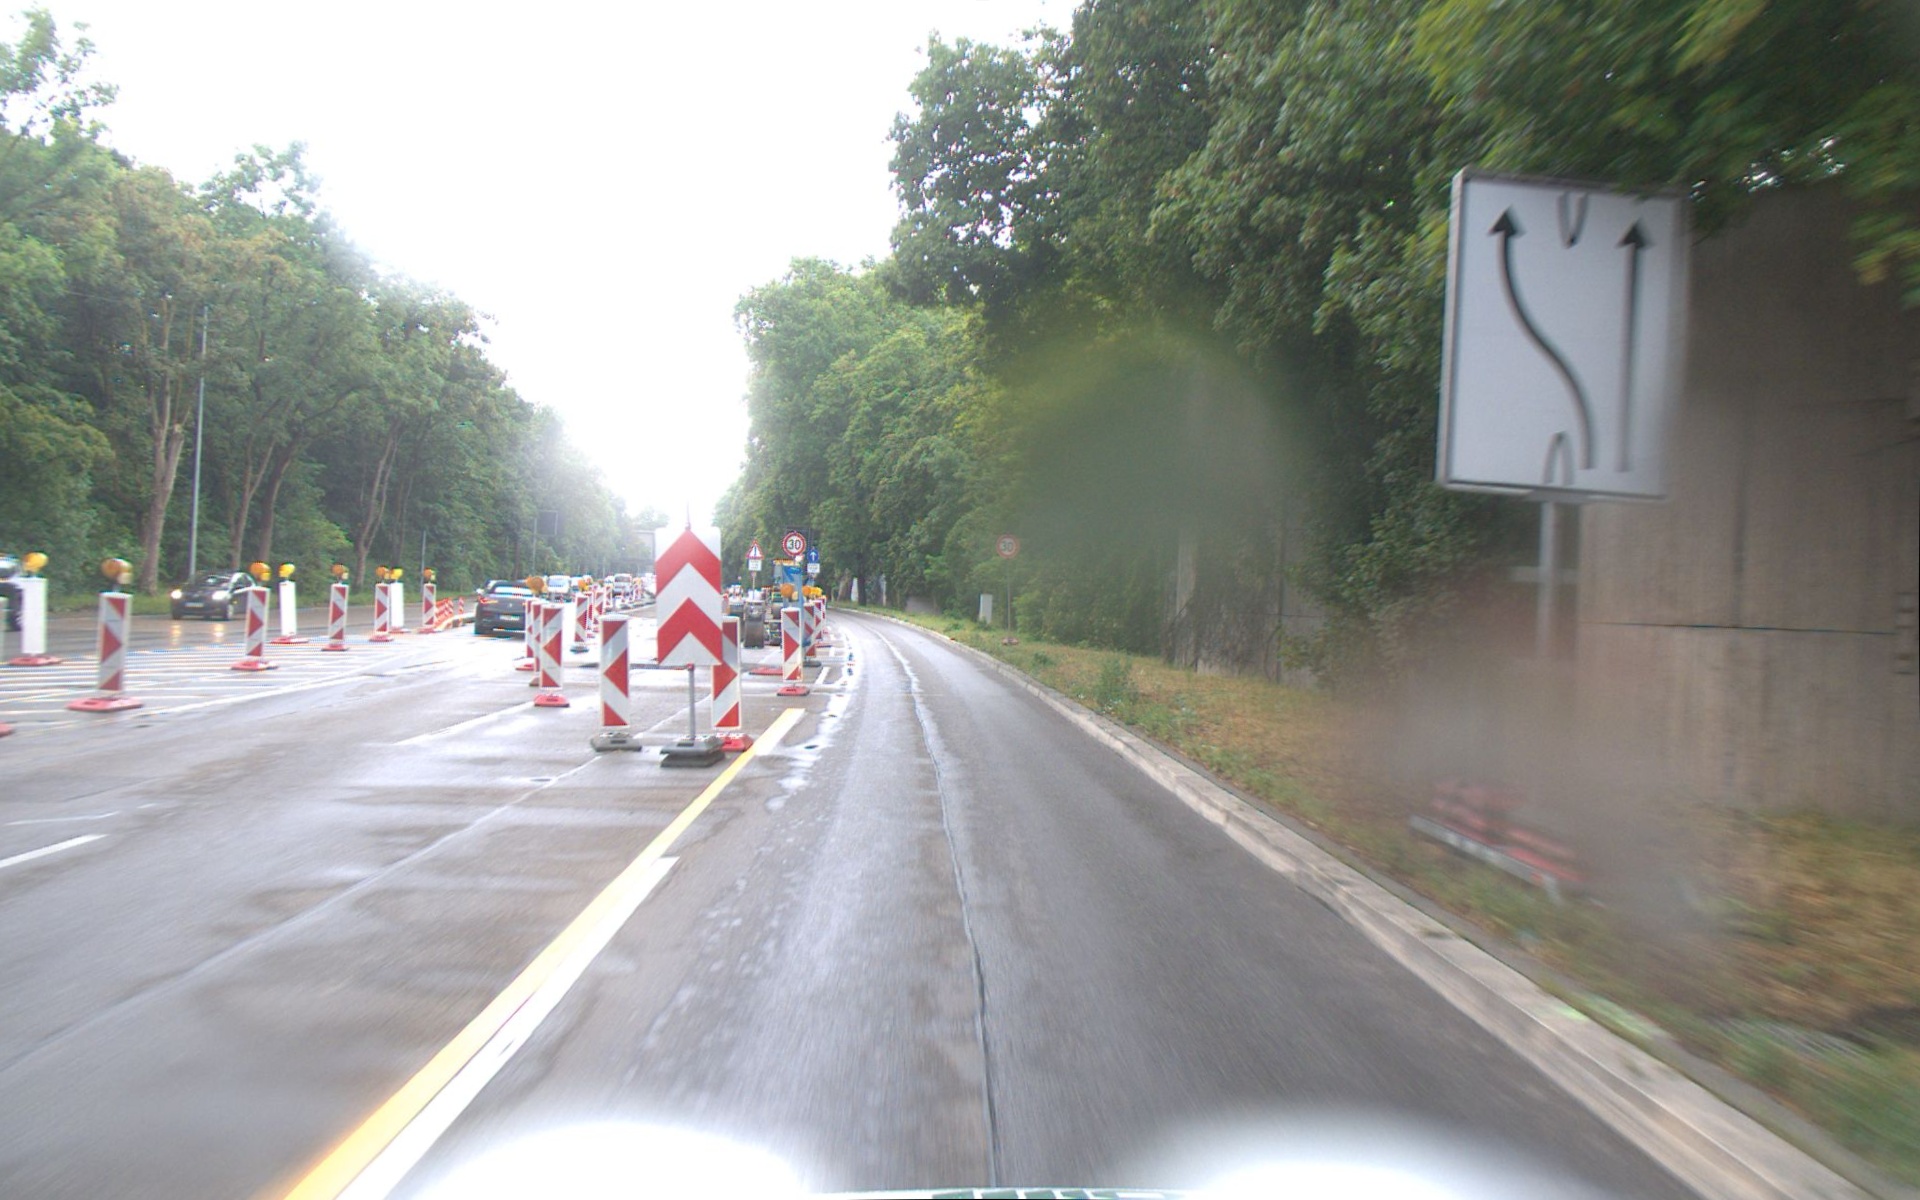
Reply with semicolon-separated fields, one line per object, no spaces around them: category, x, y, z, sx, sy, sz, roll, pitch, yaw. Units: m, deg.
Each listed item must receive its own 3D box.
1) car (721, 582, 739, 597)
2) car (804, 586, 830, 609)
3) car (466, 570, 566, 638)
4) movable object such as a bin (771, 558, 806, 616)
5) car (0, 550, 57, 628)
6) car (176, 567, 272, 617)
car;-28.169;-1.289;202.848;1.839;1.645;3.997;5;1;-4
car;-11.065;-0.187;128.283;1.876;1.625;4.830;3;1;-4
car;-11.853;0.067;44.339;1.826;1.517;3.997;3;2;-5
movable object such as a bin;-8.912;-0.652;85.860;1.713;2.917;3.530;1;0;-6
car;-21.437;-0.252;35.741;1.602;1.676;4.198;1;0;-2
car;-22.613;-0.236;50.956;1.495;1.483;3.538;0;0;-3
